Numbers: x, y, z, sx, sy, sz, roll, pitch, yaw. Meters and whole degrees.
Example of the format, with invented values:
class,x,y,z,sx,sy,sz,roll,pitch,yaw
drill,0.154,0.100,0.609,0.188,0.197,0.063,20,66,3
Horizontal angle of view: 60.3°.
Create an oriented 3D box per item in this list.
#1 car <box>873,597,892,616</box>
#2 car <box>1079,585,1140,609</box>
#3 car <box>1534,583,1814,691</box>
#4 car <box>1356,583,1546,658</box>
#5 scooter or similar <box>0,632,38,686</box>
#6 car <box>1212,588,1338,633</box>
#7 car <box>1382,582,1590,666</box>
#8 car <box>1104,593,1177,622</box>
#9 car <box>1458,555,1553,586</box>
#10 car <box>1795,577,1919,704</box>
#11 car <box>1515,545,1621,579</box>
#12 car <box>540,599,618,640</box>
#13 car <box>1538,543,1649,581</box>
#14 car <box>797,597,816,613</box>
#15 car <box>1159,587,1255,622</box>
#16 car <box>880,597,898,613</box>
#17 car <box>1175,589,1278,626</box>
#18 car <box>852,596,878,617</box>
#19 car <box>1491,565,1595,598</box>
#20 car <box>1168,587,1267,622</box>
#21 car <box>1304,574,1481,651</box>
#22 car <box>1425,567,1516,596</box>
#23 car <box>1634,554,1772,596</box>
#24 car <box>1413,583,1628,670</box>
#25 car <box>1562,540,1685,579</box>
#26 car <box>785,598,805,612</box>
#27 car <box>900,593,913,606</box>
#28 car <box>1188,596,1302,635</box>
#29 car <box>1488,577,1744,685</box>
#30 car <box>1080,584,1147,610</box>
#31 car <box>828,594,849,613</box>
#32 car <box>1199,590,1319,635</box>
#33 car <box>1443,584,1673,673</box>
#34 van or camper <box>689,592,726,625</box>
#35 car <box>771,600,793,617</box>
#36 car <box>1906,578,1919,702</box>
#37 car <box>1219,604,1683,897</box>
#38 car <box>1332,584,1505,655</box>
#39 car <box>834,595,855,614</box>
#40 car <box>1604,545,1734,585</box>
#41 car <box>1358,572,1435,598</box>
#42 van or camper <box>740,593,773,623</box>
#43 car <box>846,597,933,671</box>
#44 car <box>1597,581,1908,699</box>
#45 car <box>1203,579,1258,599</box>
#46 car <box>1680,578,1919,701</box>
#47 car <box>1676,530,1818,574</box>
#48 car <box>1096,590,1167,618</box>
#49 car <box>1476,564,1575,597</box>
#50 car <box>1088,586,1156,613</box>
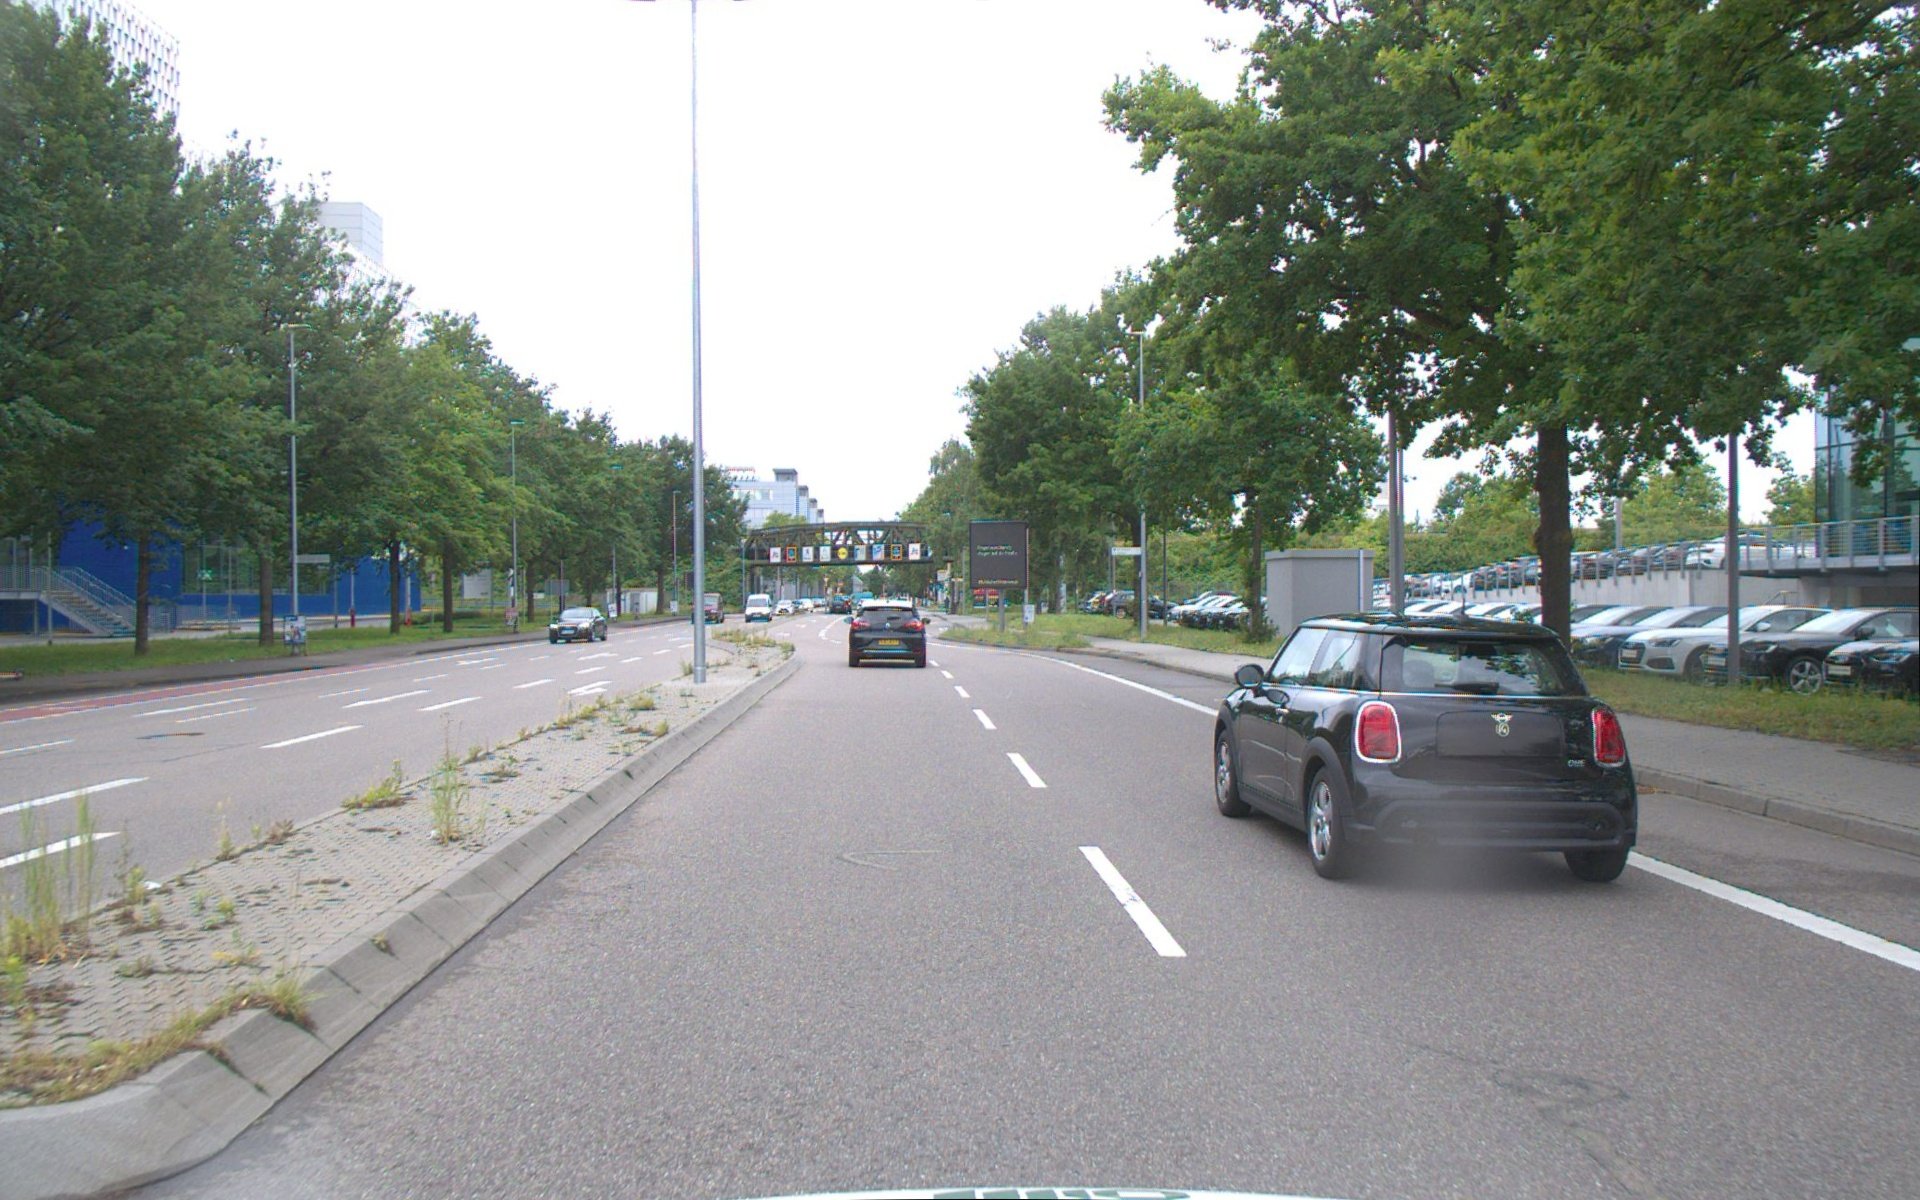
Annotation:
class,x,y,z,sx,sy,sz,roll,pitch,yaw
car,-8.294,0.662,177.192,1.910,1.847,4.001,1,2,0
car,9.807,-0.206,108.718,3.903,1.460,1.731,1,2,4
car,12.810,0.646,29.841,4.099,1.511,1.976,5,2,-2
car,12.671,0.508,42.878,4.208,1.530,2.029,5,0,-2
scooter or similar,-22.490,1.383,39.140,0.642,1.217,1.376,1,1,-5
car,11.910,0.375,62.693,4.357,1.599,1.999,-1,0,-3
car,12.764,0.565,40.306,4.306,1.546,2.000,5,2,-2
car,9.872,0.418,90.729,3.903,1.460,1.731,1,2,4
car,26.463,-1.445,80.325,4.004,1.460,1.729,0,2,-4
car,13.613,0.685,21.874,4.125,1.511,1.825,6,2,-3
car,26.715,-1.671,72.693,4.004,1.460,1.729,0,2,-4
car,-15.610,0.769,67.946,1.878,1.528,4.254,-3,0,4
car,26.809,-1.622,70.056,4.004,1.522,1.729,0,2,-4
car,-18.254,0.616,196.416,1.900,1.705,3.782,1,2,0
car,11.157,0.199,74.887,4.004,1.460,1.729,0,2,-4
car,-8.021,0.563,187.745,1.846,1.690,3.782,1,2,0
car,11.290,0.292,70.166,4.004,1.460,1.821,0,2,-4
car,-8.443,0.577,147.331,2.091,1.690,3.782,1,2,0
car,26.540,-0.849,75.353,4.004,1.460,1.946,0,2,-4
car,11.277,0.197,72.573,4.004,1.460,1.845,0,2,-4
car,12.480,0.346,47.885,4.459,1.731,2.000,5,2,-2
car,26.385,-0.966,85.514,4.116,1.460,1.729,0,2,-4
car,27.956,-0.951,62.336,4.250,1.522,2.068,0,2,-4
car,12.711,0.570,37.692,4.093,1.494,2.000,5,2,-2
car,27.011,-1.654,67.428,4.250,1.522,1.881,0,2,-4
car,-17.542,0.511,175.933,1.684,1.395,3.440,1,2,0
car,-8.040,-0.110,249.209,1.910,1.847,4.001,1,2,0
car,11.618,0.629,67.561,4.256,1.514,1.842,1,0,-3
car,12.735,0.576,32.307,4.092,1.691,2.000,5,2,-2
car,9.177,-0.184,99.054,3.903,1.460,1.731,1,2,4
car,-12.269,0.343,167.216,1.846,1.690,3.782,1,2,0
car,11.757,0.469,65.199,4.257,1.529,1.928,3,0,-3
car,12.640,0.582,35.124,4.092,1.481,1.933,5,2,-2
van or camper,-16.670,0.519,109.405,1.838,2.021,4.887,-1,1,-3
car,-17.175,0.844,159.463,1.718,1.471,3.340,1,2,0
car,13.634,0.653,19.181,4.154,1.629,1.875,6,2,-3
car,2.747,0.786,10.117,1.749,1.440,3.643,-1,-1,0
car,12.502,0.509,45.283,4.093,1.470,1.960,5,2,-2
car,-12.090,0.428,173.808,1.910,1.847,4.001,1,2,0
car,27.776,-1.383,64.835,4.250,1.522,1.969,0,2,-4
car,25.770,-0.872,97.699,4.004,1.460,1.729,0,2,-4
van or camper,-13.474,0.492,109.939,1.720,1.777,4.405,-4,1,-2
car,-1.515,0.717,36.927,1.721,1.459,4.001,-1,1,0
car,12.989,0.628,27.290,4.113,1.511,1.958,5,2,-3
car,20.391,-0.832,124.738,3.903,1.460,1.731,1,2,4
car,13.189,0.617,24.692,3.984,1.511,1.818,5,2,-3
car,28.231,-1.730,59.405,4.250,1.522,1.881,0,2,-4
car,9.694,0.212,93.720,3.903,1.460,1.731,1,2,4
car,26.528,-0.934,77.667,4.004,1.460,1.729,0,2,-4
car,9.450,-0.060,96.711,3.903,1.460,1.731,1,2,4
